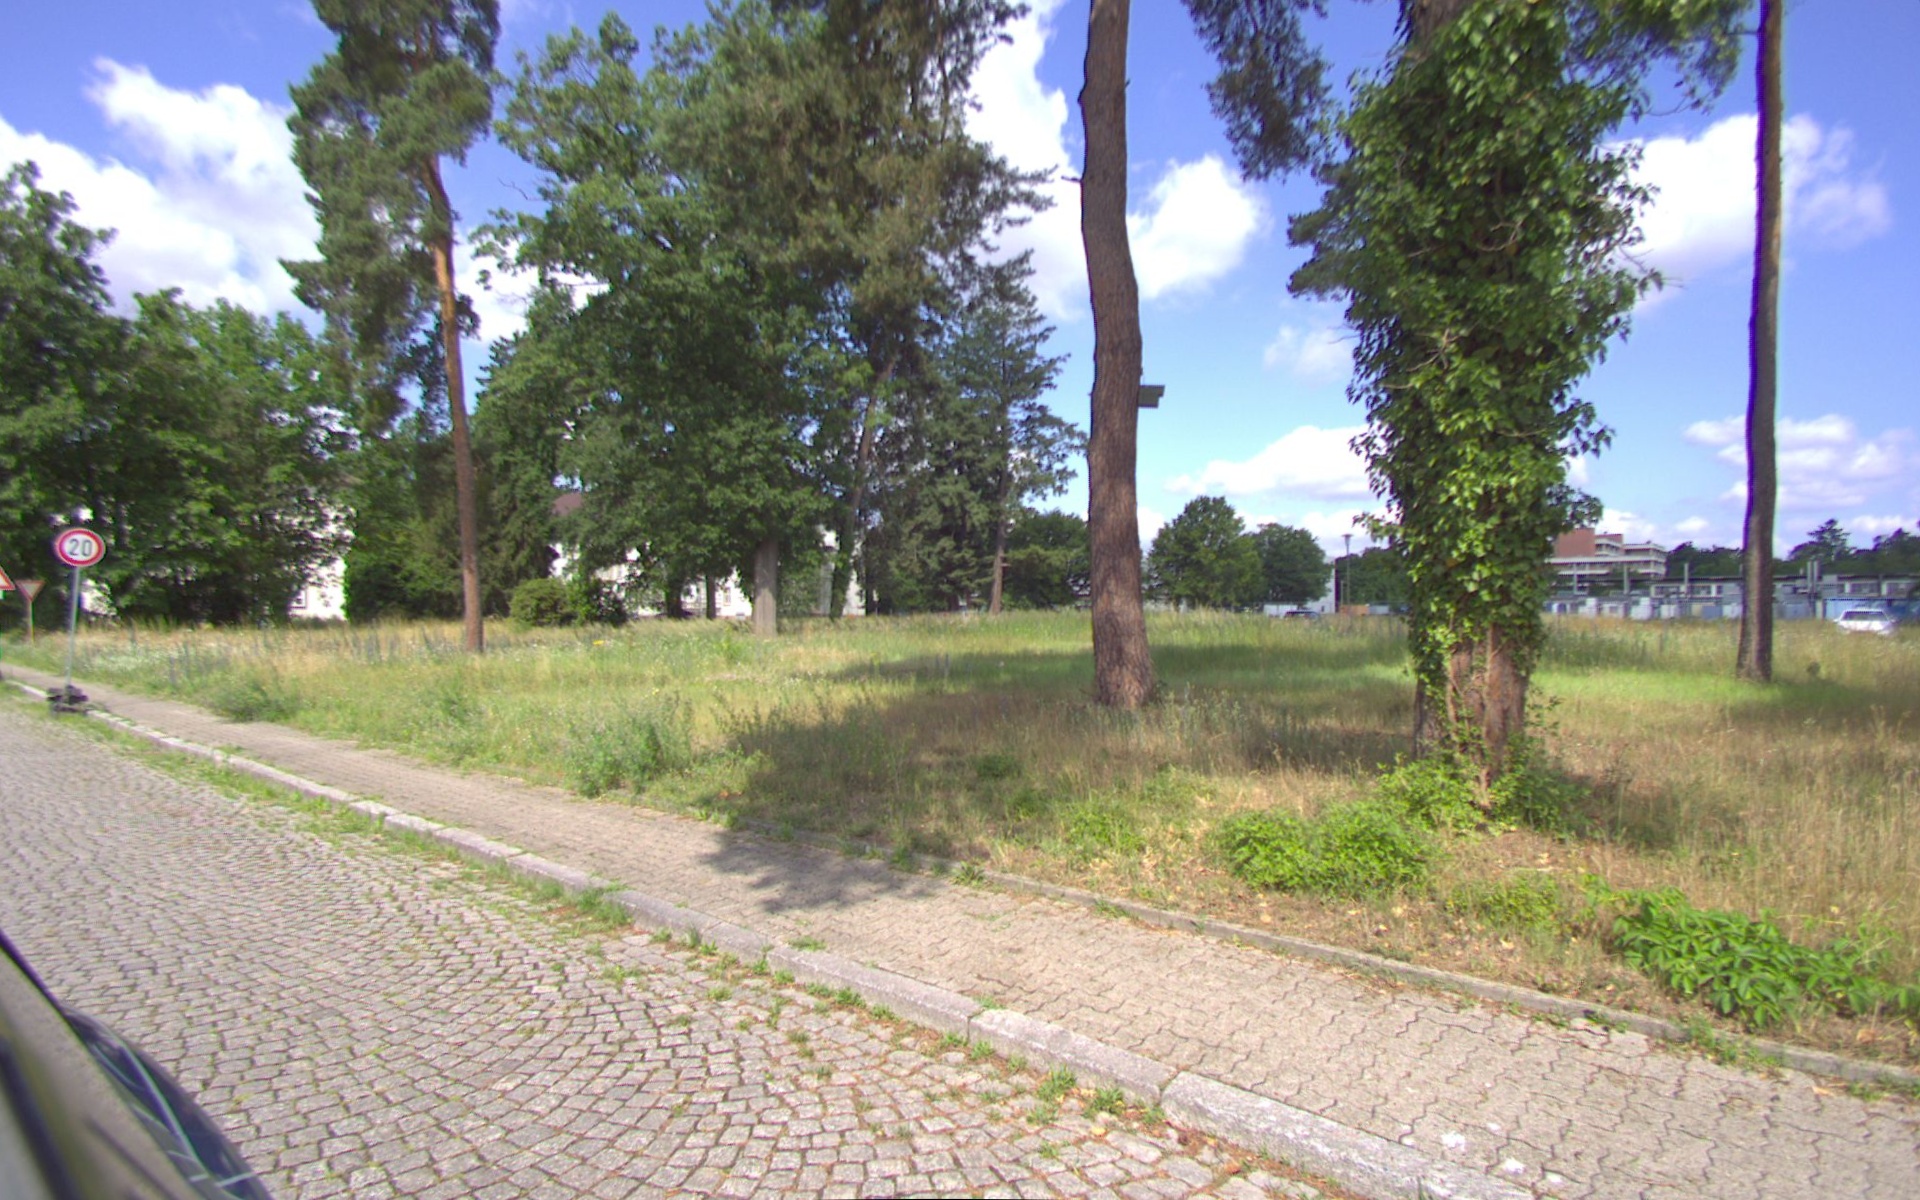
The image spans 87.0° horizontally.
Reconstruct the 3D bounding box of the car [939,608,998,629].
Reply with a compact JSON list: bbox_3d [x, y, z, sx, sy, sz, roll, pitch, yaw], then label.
[{"bbox_3d":[0.606,1.277,69.538,1.899,1.423,4.017,-1,-1,40],"label":"car"}]

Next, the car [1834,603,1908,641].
[{"bbox_3d":[34.302,0.826,38.202,1.899,1.359,4.017,-1,-1,40],"label":"car"}]
